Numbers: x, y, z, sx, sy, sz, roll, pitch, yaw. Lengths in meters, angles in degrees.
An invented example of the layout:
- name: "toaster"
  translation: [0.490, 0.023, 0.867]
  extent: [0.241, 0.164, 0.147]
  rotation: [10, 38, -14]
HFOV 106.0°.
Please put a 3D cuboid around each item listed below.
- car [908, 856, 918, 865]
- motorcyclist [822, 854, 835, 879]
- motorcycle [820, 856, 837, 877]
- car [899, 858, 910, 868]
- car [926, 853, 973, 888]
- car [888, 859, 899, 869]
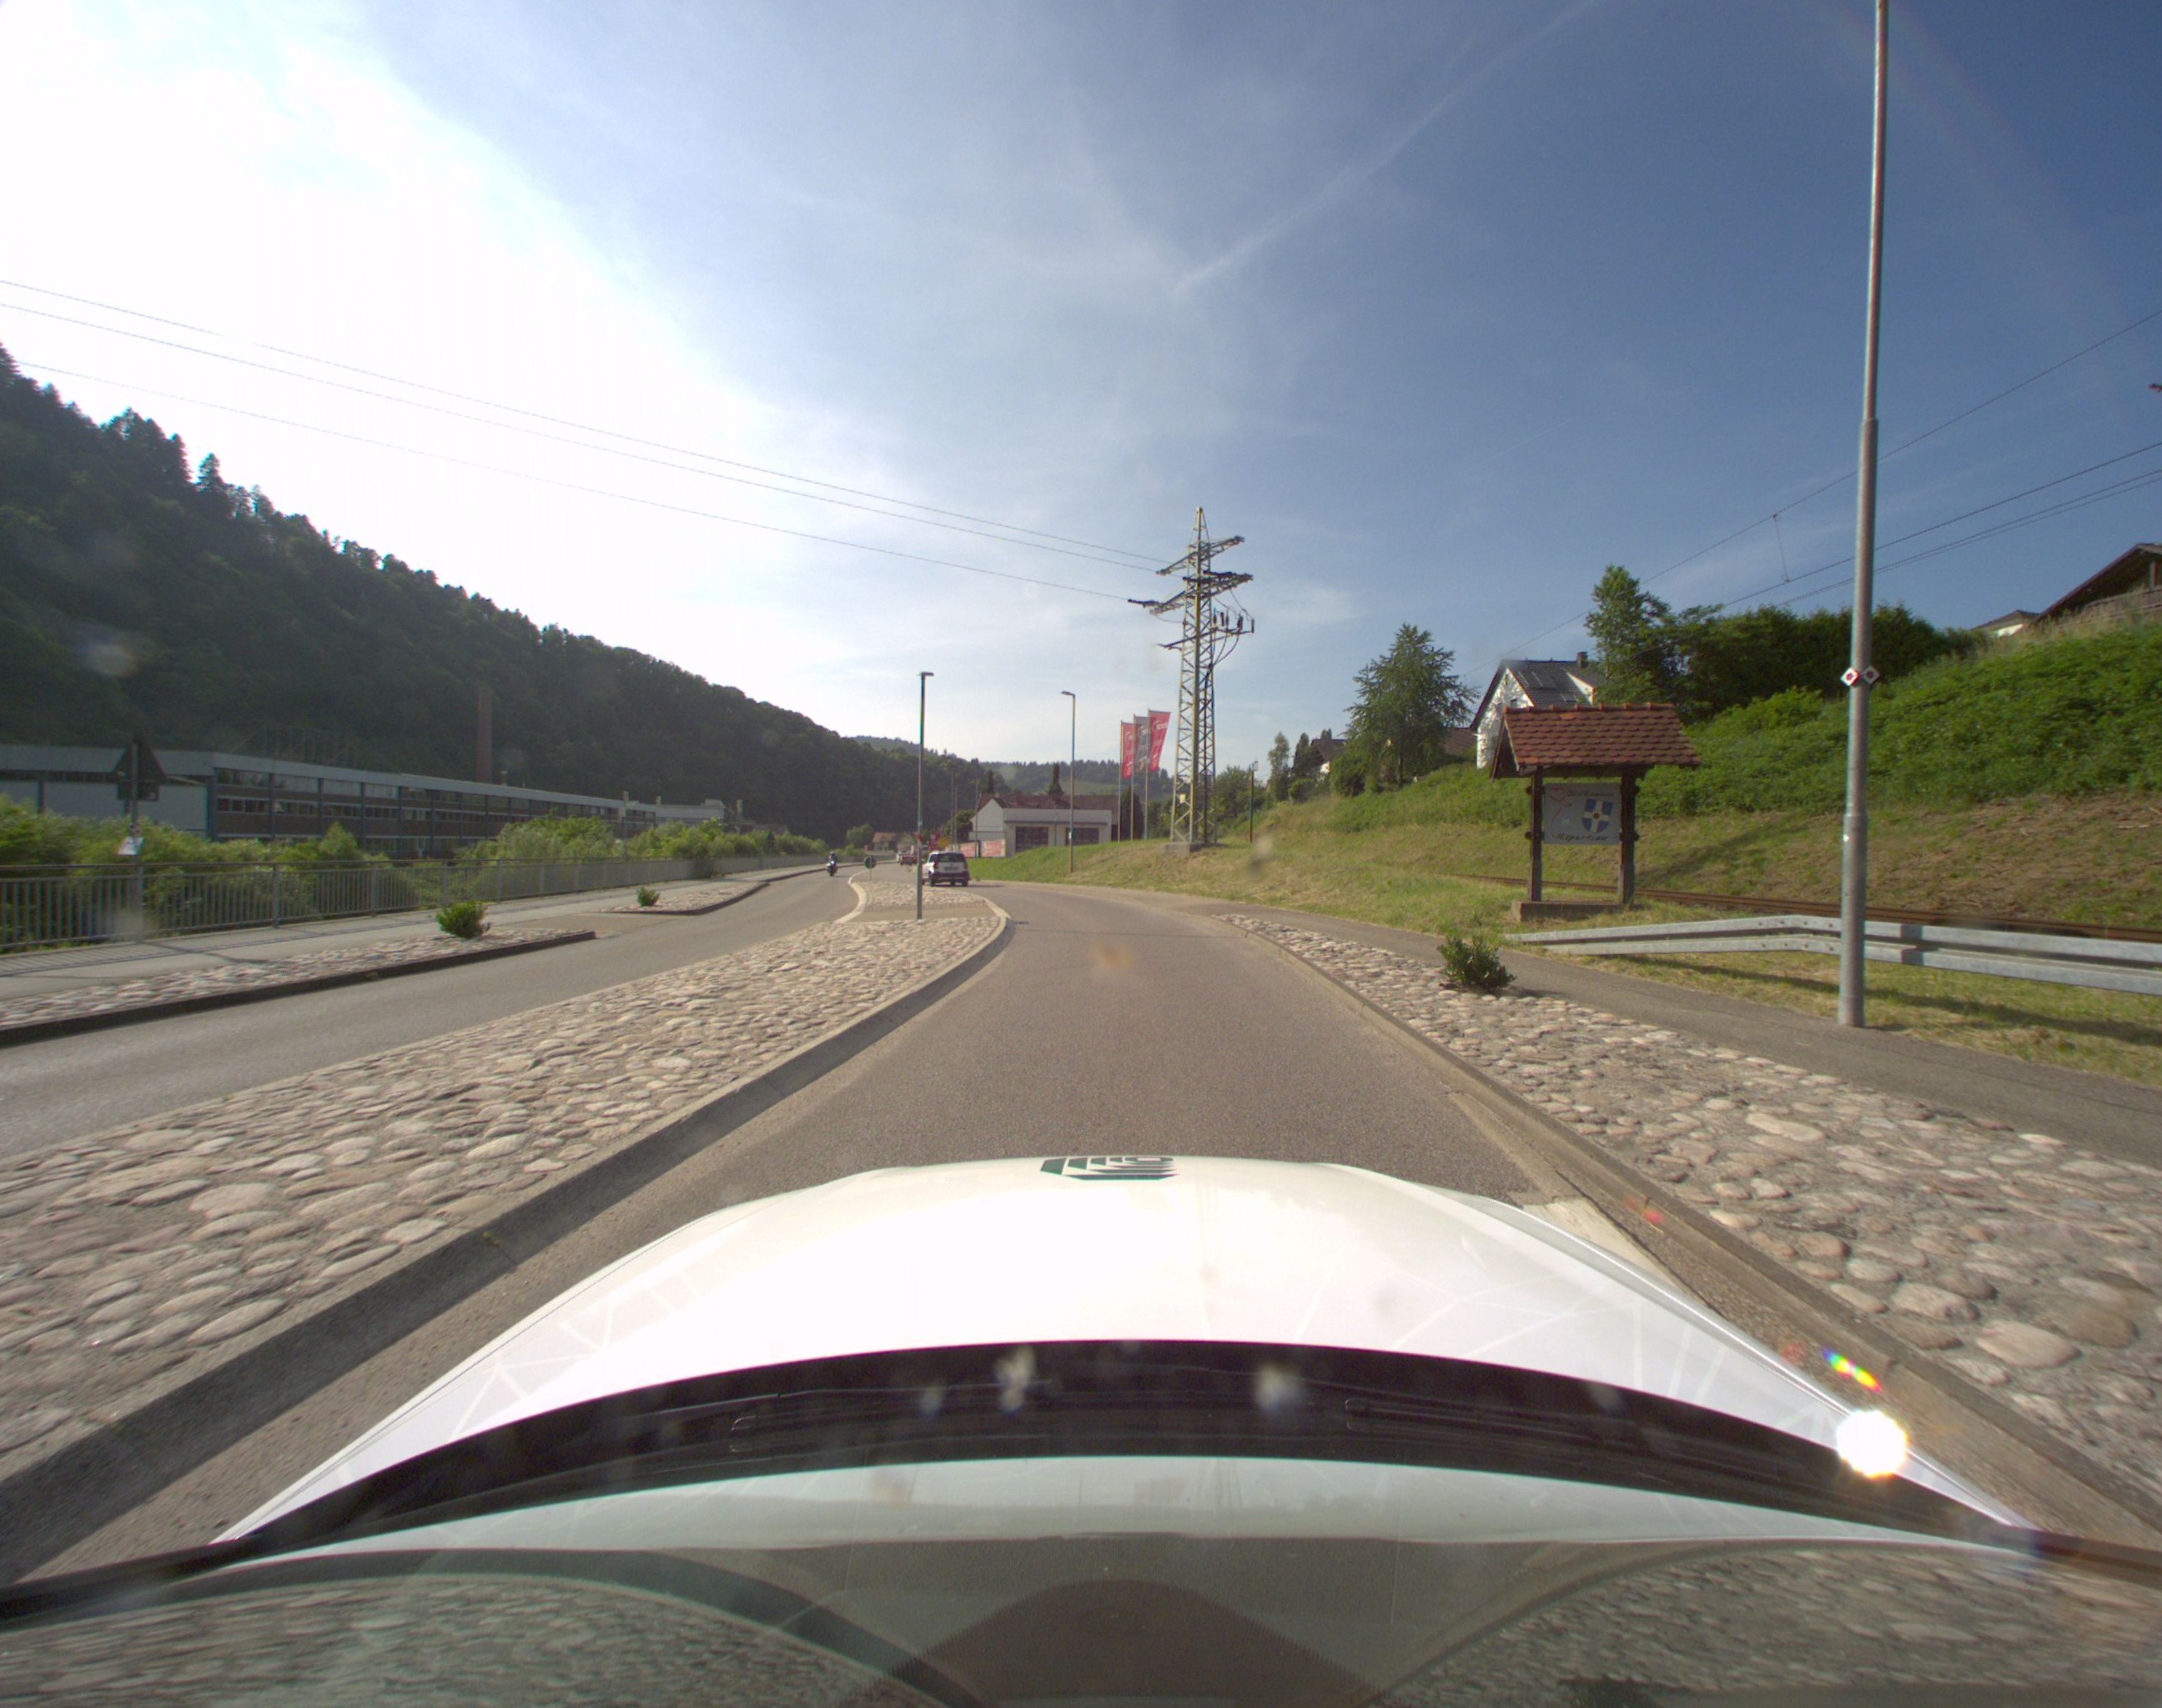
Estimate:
- name: "car"
  translation: [-29.021, 1.173, 140.658]
  extent: [1.356, 1.435, 2.830]
  rotation: [1, 1, -9]
- name: "motorcyclist"
  translation: [-17.469, 0.854, 56.413]
  extent: [0.762, 1.678, 0.725]
  rotation: [0, -1, -8]
- name: "motorcycle"
  translation: [-17.506, 0.886, 56.540]
  extent: [0.772, 1.422, 2.311]
  rotation: [0, 0, -9]
- name: "car"
  translation: [-28.376, 1.452, 131.222]
  extent: [1.452, 1.435, 2.928]
  rotation: [1, 1, -8]
- name: "car"
  translation: [-6.323, 0.779, 38.813]
  extent: [1.863, 1.544, 4.352]
  rotation: [1, -1, -14]
- name: "car"
  translation: [-37.348, 2.056, 162.386]
  extent: [1.921, 1.967, 5.126]
  rotation: [0, -1, -11]
